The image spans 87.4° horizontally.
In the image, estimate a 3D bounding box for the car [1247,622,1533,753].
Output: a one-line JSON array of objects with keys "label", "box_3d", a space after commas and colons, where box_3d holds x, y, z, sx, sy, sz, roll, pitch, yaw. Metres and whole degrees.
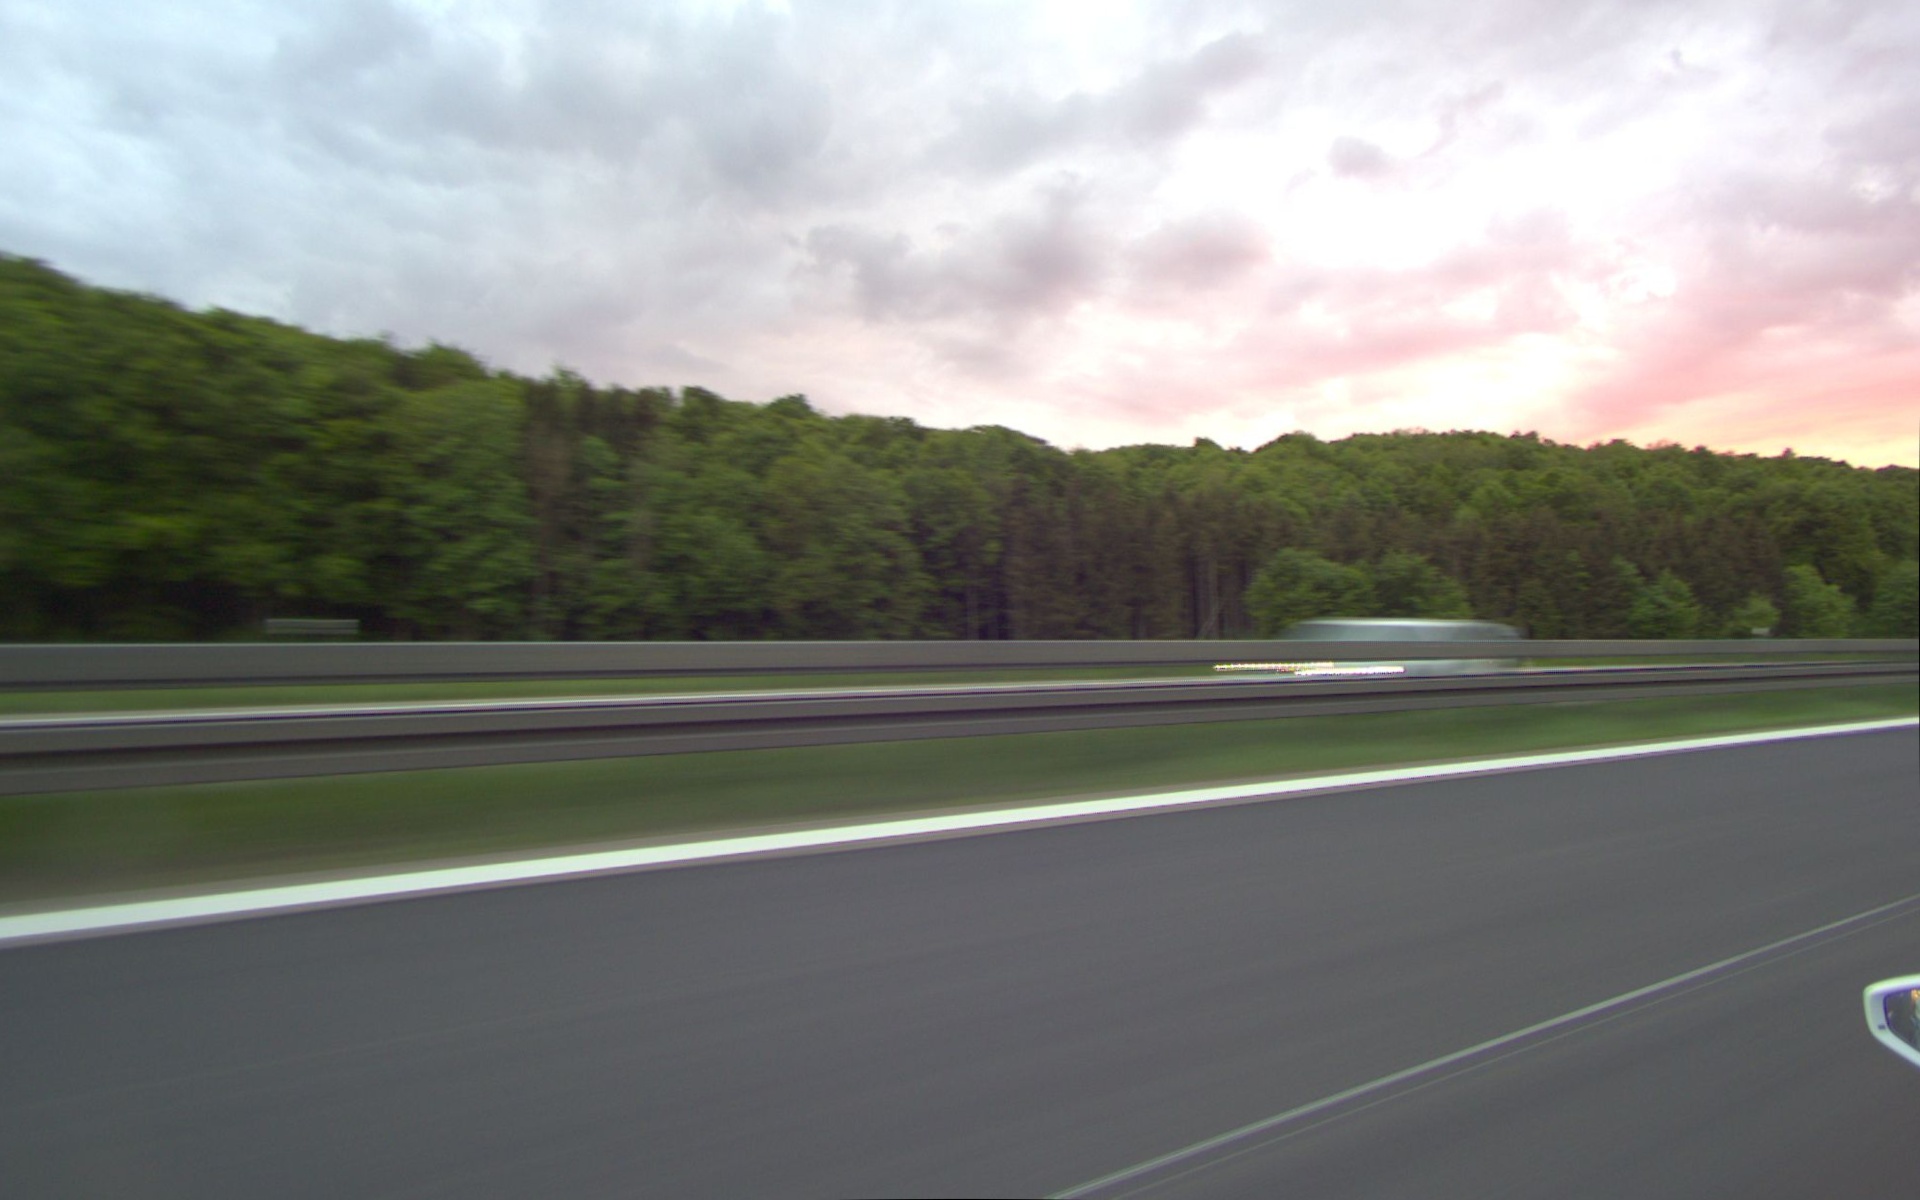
[{"label": "car", "box_3d": [7.680, 1.468, 17.832, 5.107, 2.040, 1.985, 2, -3, -29]}]
